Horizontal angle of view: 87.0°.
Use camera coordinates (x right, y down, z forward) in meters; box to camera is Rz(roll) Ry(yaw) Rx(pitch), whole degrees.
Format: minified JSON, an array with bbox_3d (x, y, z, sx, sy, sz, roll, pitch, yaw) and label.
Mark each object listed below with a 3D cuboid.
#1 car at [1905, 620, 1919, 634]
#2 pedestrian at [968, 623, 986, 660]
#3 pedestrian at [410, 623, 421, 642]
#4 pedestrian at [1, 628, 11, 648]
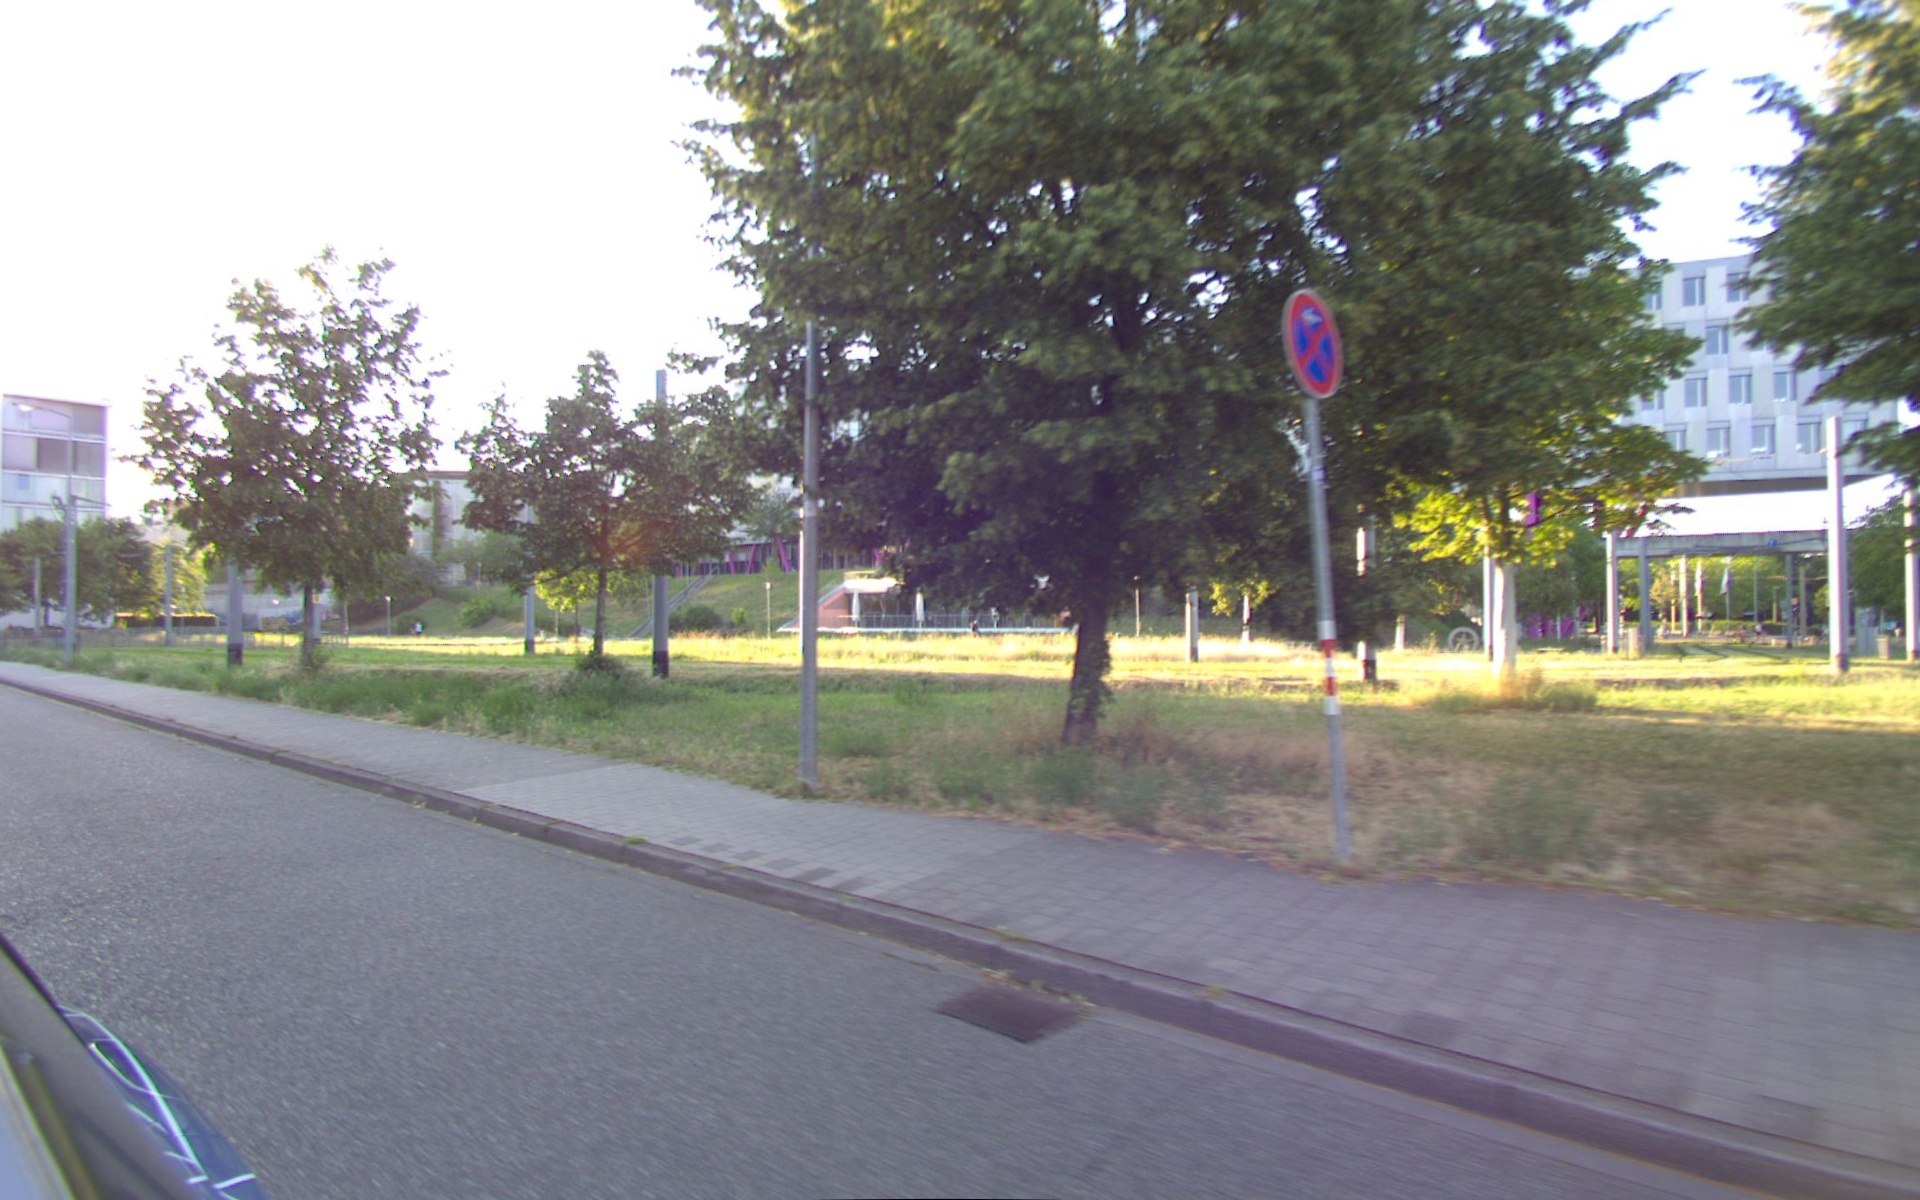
[{"bbox_3d":[144.916,4.087,151.964,1.967,2.029,4.009,-2,0,-37],"label":"car"},{"bbox_3d":[1.010,2.446,59.700,0.790,2.098,0.610,-2,0,39],"label":"pedestrian"},{"bbox_3d":[-53.803,3.252,100.011,0.790,1.850,0.610,-2,0,39],"label":"pedestrian"},{"bbox_3d":[-88.771,3.513,94.177,0.480,1.850,0.446,-2,0,20],"label":"pedestrian"}]
